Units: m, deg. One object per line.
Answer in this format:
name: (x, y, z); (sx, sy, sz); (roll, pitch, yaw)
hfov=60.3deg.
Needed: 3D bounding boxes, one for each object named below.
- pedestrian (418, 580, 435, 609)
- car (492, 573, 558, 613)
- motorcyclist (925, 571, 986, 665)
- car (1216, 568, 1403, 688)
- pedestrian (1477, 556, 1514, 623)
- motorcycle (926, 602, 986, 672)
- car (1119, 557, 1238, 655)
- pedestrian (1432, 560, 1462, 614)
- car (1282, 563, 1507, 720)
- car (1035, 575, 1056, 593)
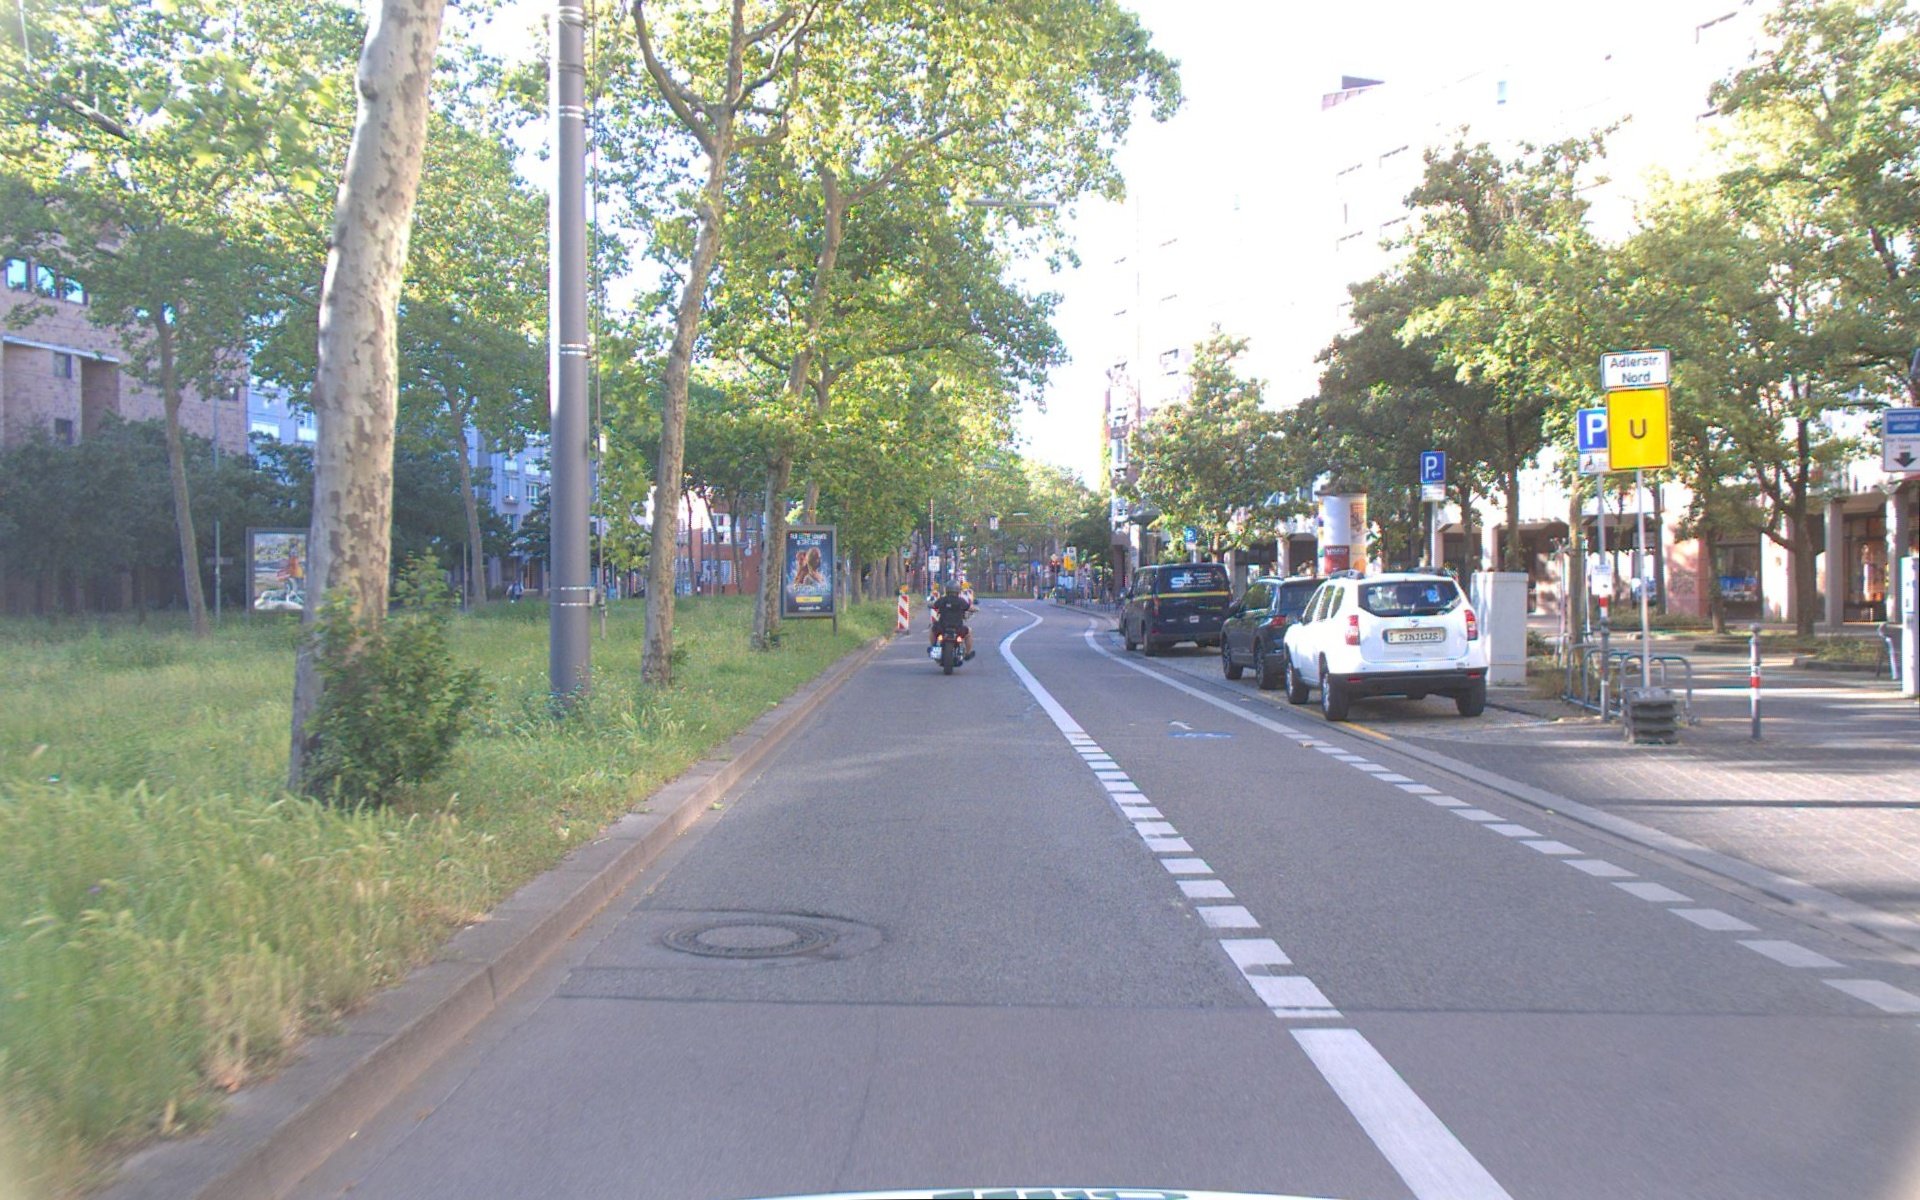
pedestrian: (-28.863, -0.287, 89.507); (0.616, 1.547, 0.680); (0, 0, 15)
car: (-19.291, -0.316, 73.522); (1.862, 1.716, 4.000); (-1, 1, -1)
motorcyclist: (-0.069, 0.307, 28.660); (1.001, 1.579, 1.287); (-1, 0, 1)
car: (5.305, 0.381, 25.646); (1.947, 1.657, 4.085); (-2, 0, -1)
pedestrian: (16.420, -0.329, 50.701); (0.848, 2.049, 0.882); (-1, 0, 0)
motorcycle: (-0.047, 0.623, 28.738); (0.985, 1.145, 2.323); (-1, 0, 1)
car: (4.862, 0.105, 37.358); (1.988, 2.011, 4.414); (-2, 1, -1)
pedestrian: (17.426, -0.470, 59.212); (0.849, 1.916, 1.059); (0, 0, 6)
car: (5.083, 0.426, 19.857); (1.820, 1.666, 3.869); (-1, 1, 3)
car: (8.744, -1.620, 168.544); (1.951, 1.735, 4.003); (-1, 1, 6)
